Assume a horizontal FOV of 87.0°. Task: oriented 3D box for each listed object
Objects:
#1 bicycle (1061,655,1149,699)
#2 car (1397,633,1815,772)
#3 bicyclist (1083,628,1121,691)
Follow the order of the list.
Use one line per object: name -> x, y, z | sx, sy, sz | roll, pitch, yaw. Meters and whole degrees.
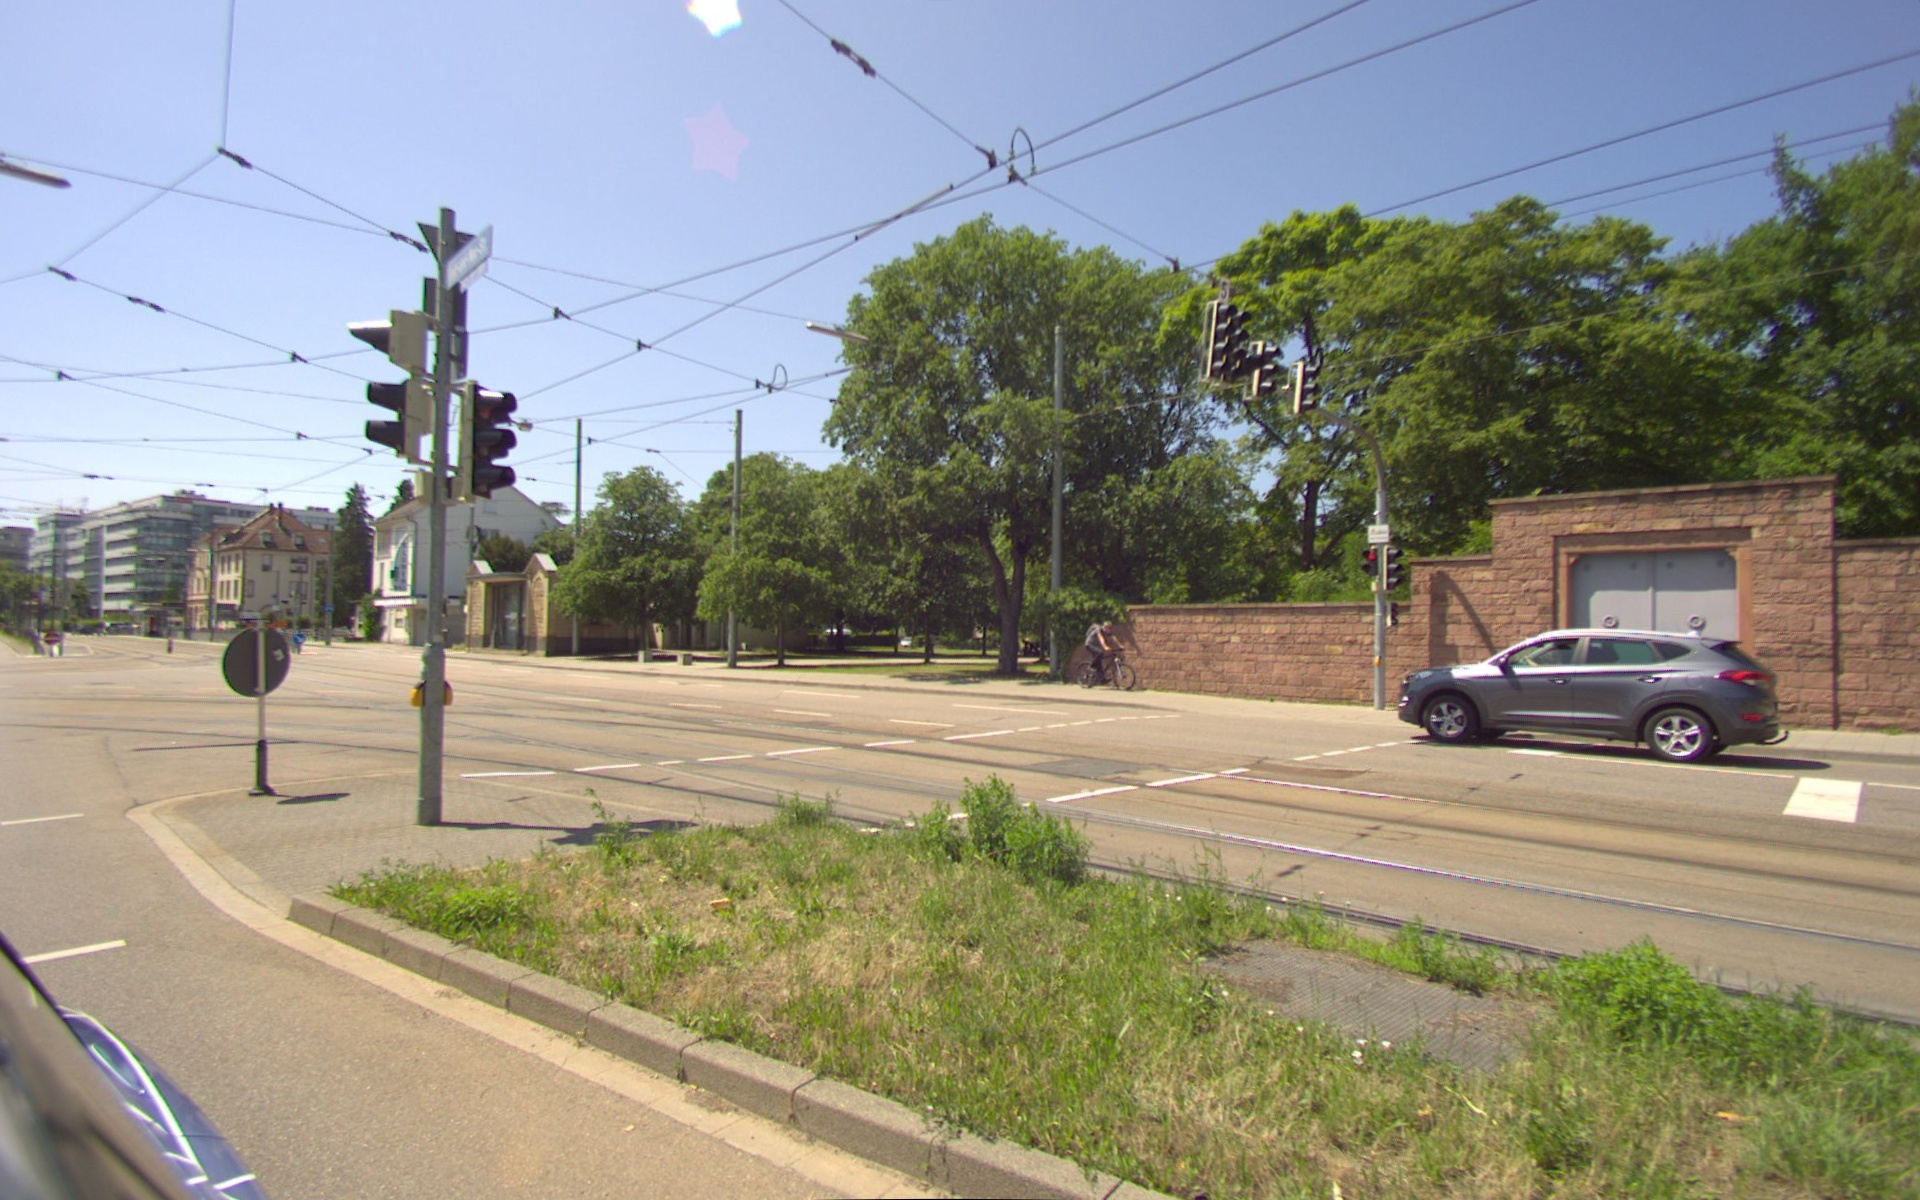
bicycle -> 3.468, 1.833, 24.361 | 2.115, 0.964, 0.645 | -2, -3, 44
car -> 8.518, 1.246, 13.666 | 4.467, 1.567, 1.819 | -2, -4, 45
bicyclist -> 3.427, 1.424, 24.419 | 0.662, 1.508, 0.645 | -2, -3, 44
